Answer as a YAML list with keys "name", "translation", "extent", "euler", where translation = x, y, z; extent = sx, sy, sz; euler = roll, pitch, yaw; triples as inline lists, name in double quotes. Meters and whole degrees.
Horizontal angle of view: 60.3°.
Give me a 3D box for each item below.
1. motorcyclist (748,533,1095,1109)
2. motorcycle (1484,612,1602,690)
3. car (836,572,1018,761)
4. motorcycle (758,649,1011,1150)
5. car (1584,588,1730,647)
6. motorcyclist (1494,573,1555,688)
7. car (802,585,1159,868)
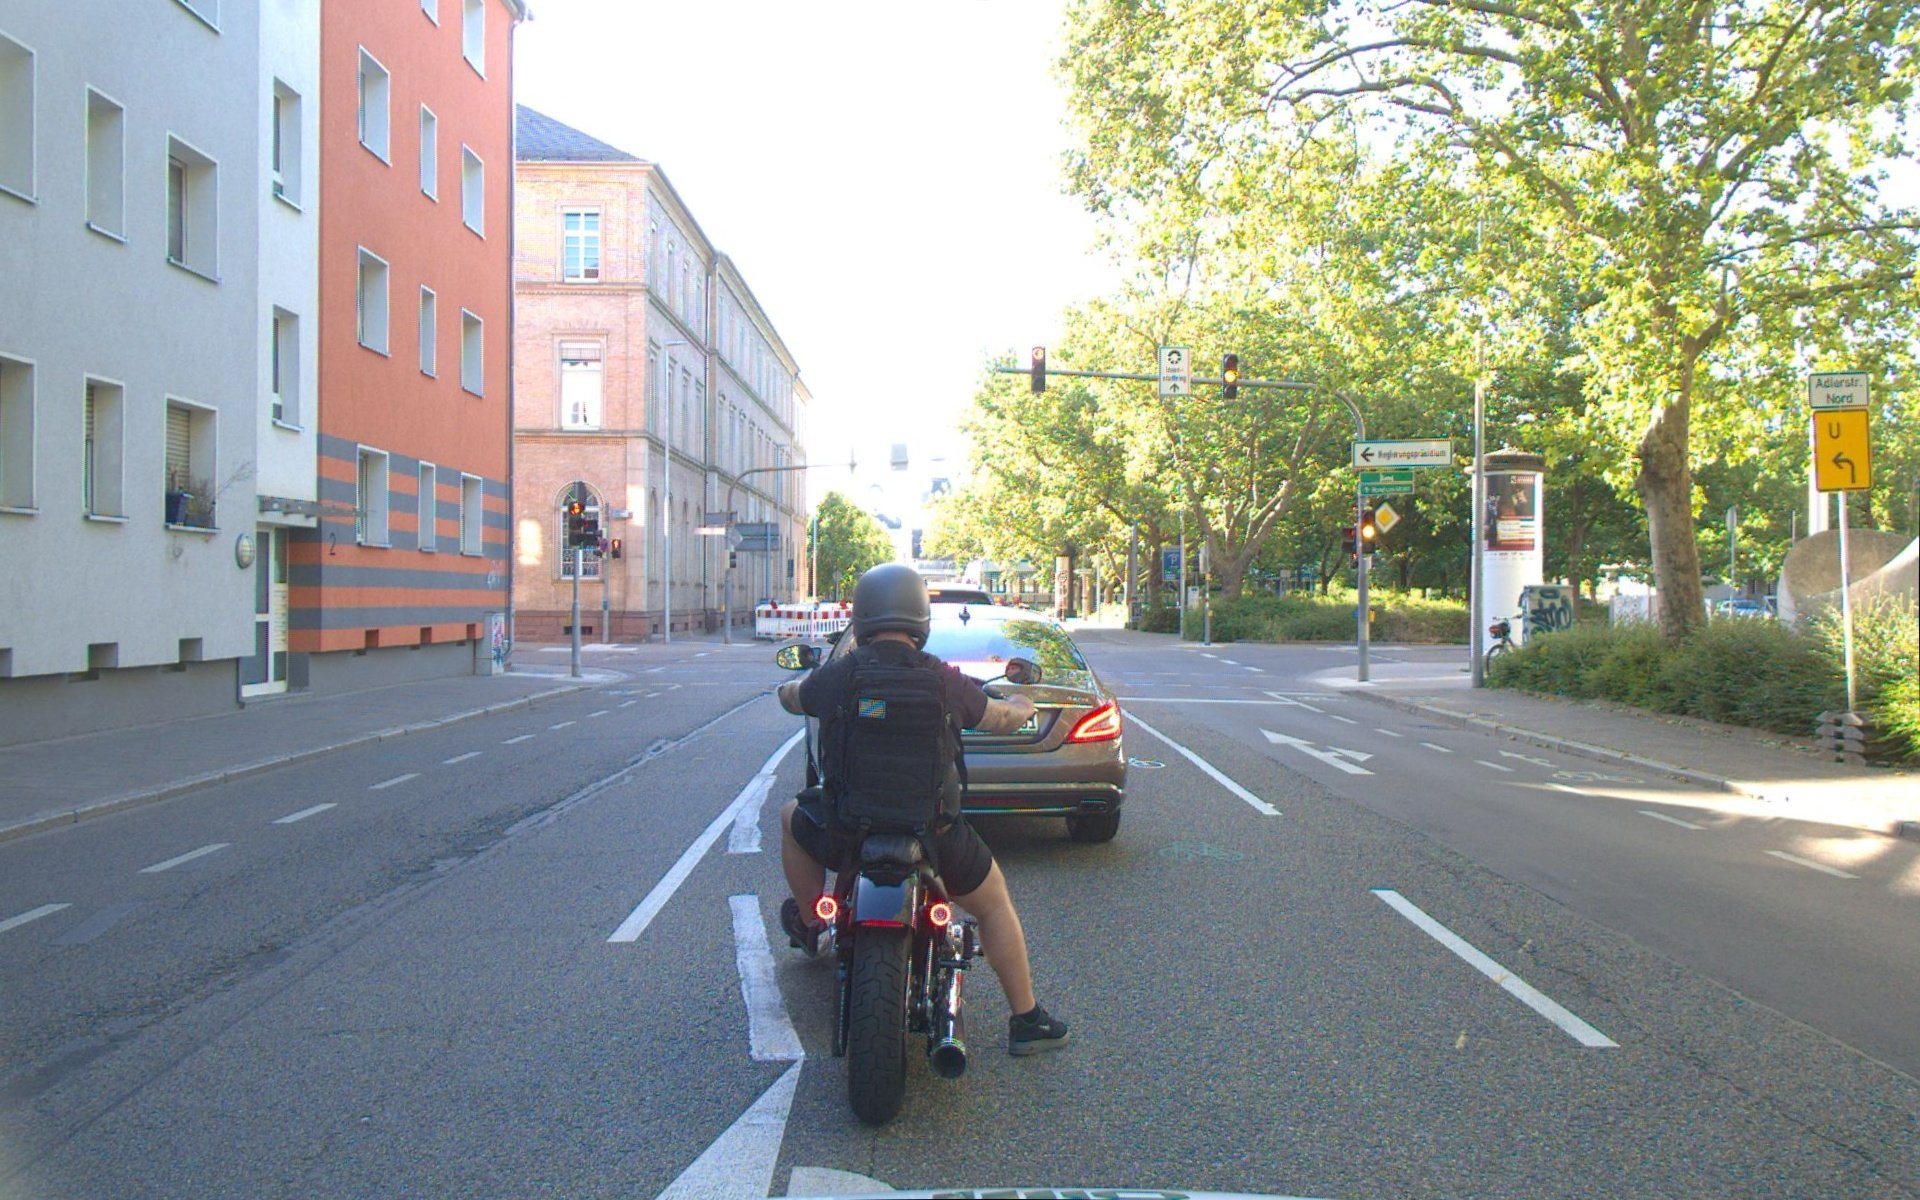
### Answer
- name: "motorcyclist"
  translation: [-0.118, 0.638, 5.308]
  extent: [0.970, 1.639, 1.120]
  euler: [1, 0, -1]
- name: "motorcycle"
  translation: [9.784, 0.841, 27.804]
  extent: [1.743, 1.265, 0.723]
  euler: [1, 0, 4]
- name: "car"
  translation: [-0.324, 0.610, 16.950]
  extent: [1.618, 1.681, 3.999]
  euler: [1, 0, -1]
- name: "motorcycle"
  translation: [-0.213, 0.821, 5.398]
  extent: [0.646, 1.261, 2.057]
  euler: [1, 0, -1]
- name: "car"
  translation: [22.000, 0.536, 52.274]
  extent: [3.907, 1.803, 1.737]
  euler: [0, 0, -3]
- name: "motorcyclist"
  translation: [9.492, 0.509, 27.815]
  extent: [0.805, 1.896, 0.672]
  euler: [1, -1, 4]
- name: "car"
  translation: [-0.079, 0.693, 11.107]
  extent: [1.790, 1.512, 4.326]
  euler: [1, 0, -7]
